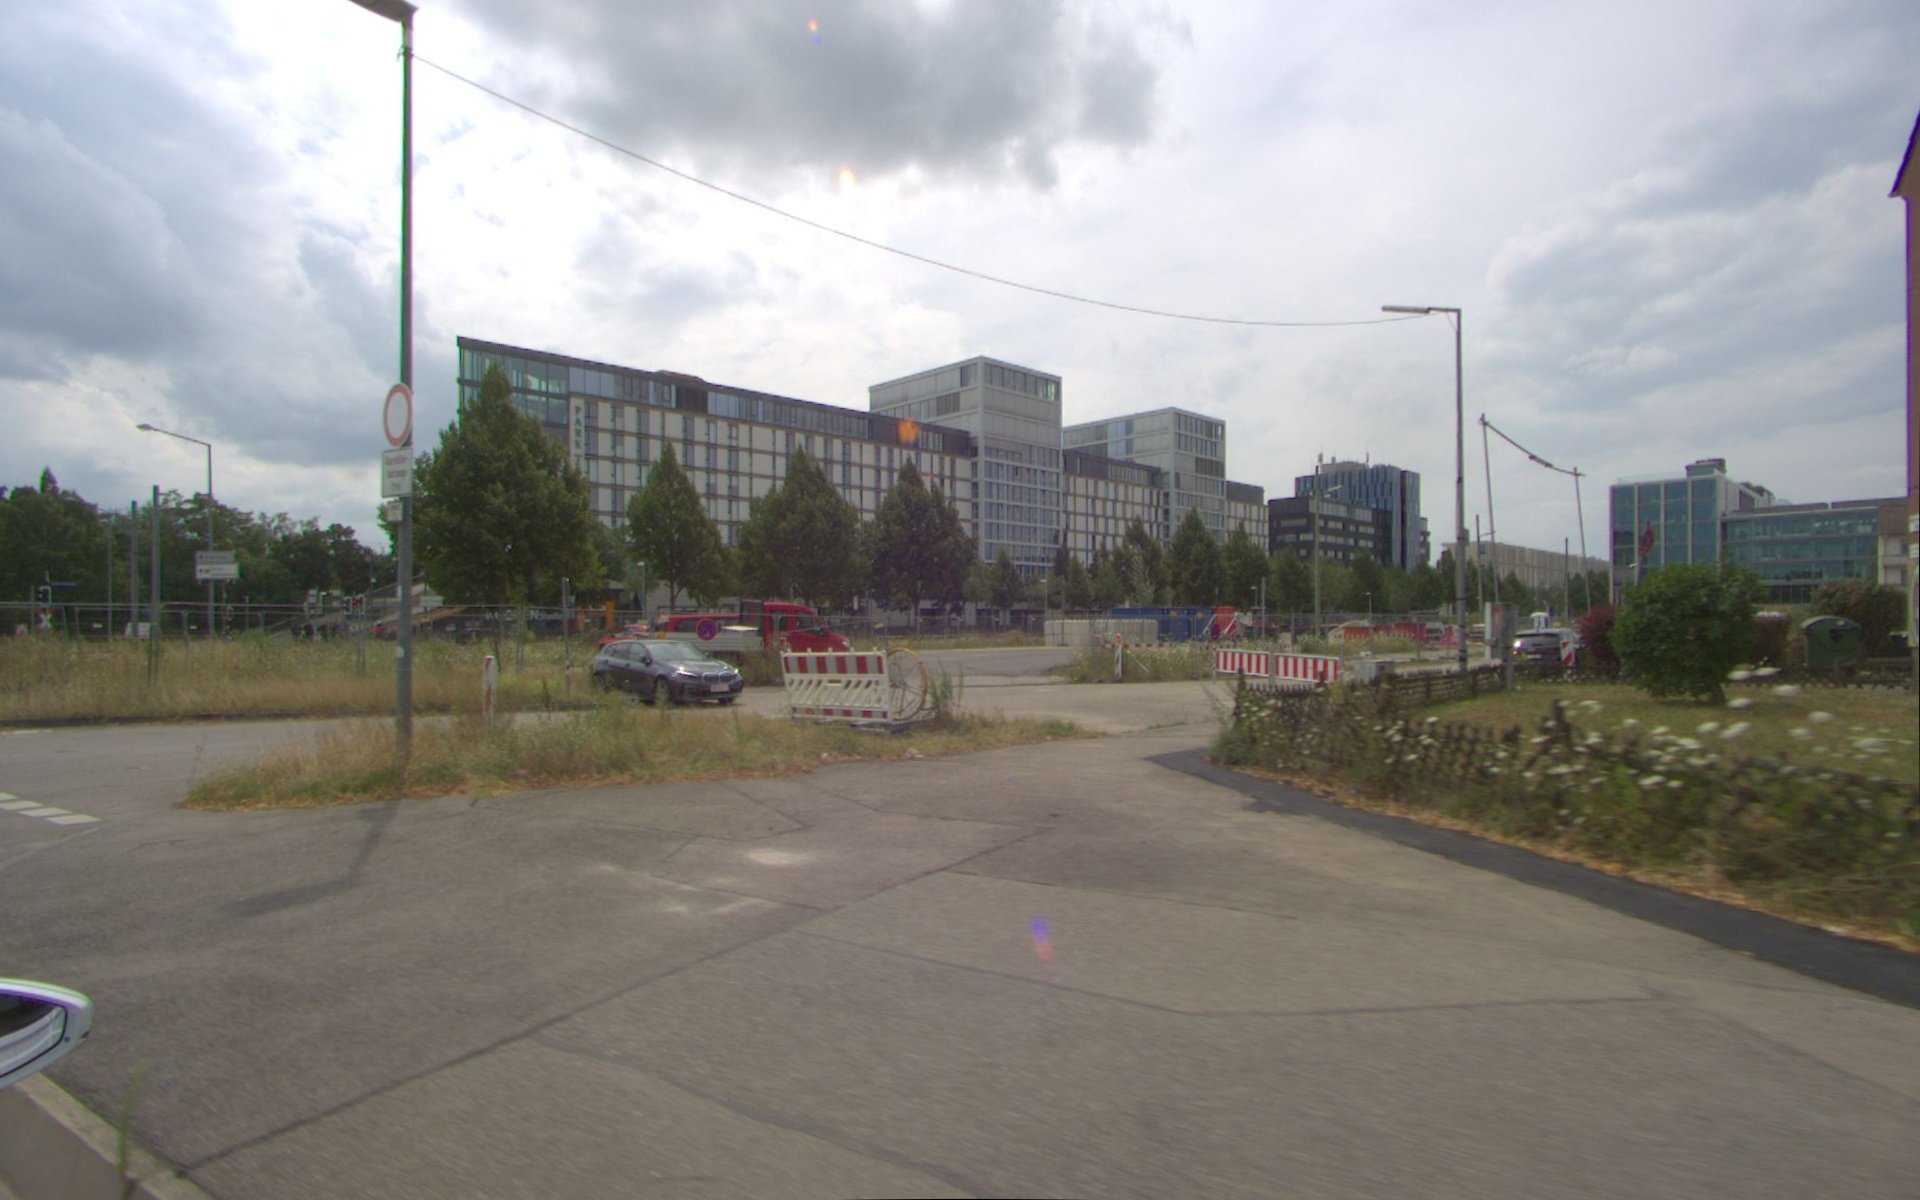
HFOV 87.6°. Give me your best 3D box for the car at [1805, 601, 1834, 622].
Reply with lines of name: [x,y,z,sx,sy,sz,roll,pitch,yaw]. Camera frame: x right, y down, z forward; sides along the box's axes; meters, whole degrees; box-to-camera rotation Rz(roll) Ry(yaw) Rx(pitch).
car: [78.010,1.029,90.845,1.809,1.705,3.809,-4,-2,43]

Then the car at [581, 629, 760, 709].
car: [-6.608,1.469,22.674,4.285,1.517,1.842,0,1,41]

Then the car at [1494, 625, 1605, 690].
car: [17.505,1.660,29.668,3.804,1.705,1.812,-1,-2,-44]

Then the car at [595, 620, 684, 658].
car: [-13.921,1.652,43.359,4.392,1.582,1.779,-1,-1,43]

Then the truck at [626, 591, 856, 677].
truck: [-6.770,1.043,31.304,6.593,2.457,2.519,1,-1,-33]

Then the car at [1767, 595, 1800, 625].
car: [98.387,1.154,119.632,2.586,3.343,5.816,-4,-2,43]
